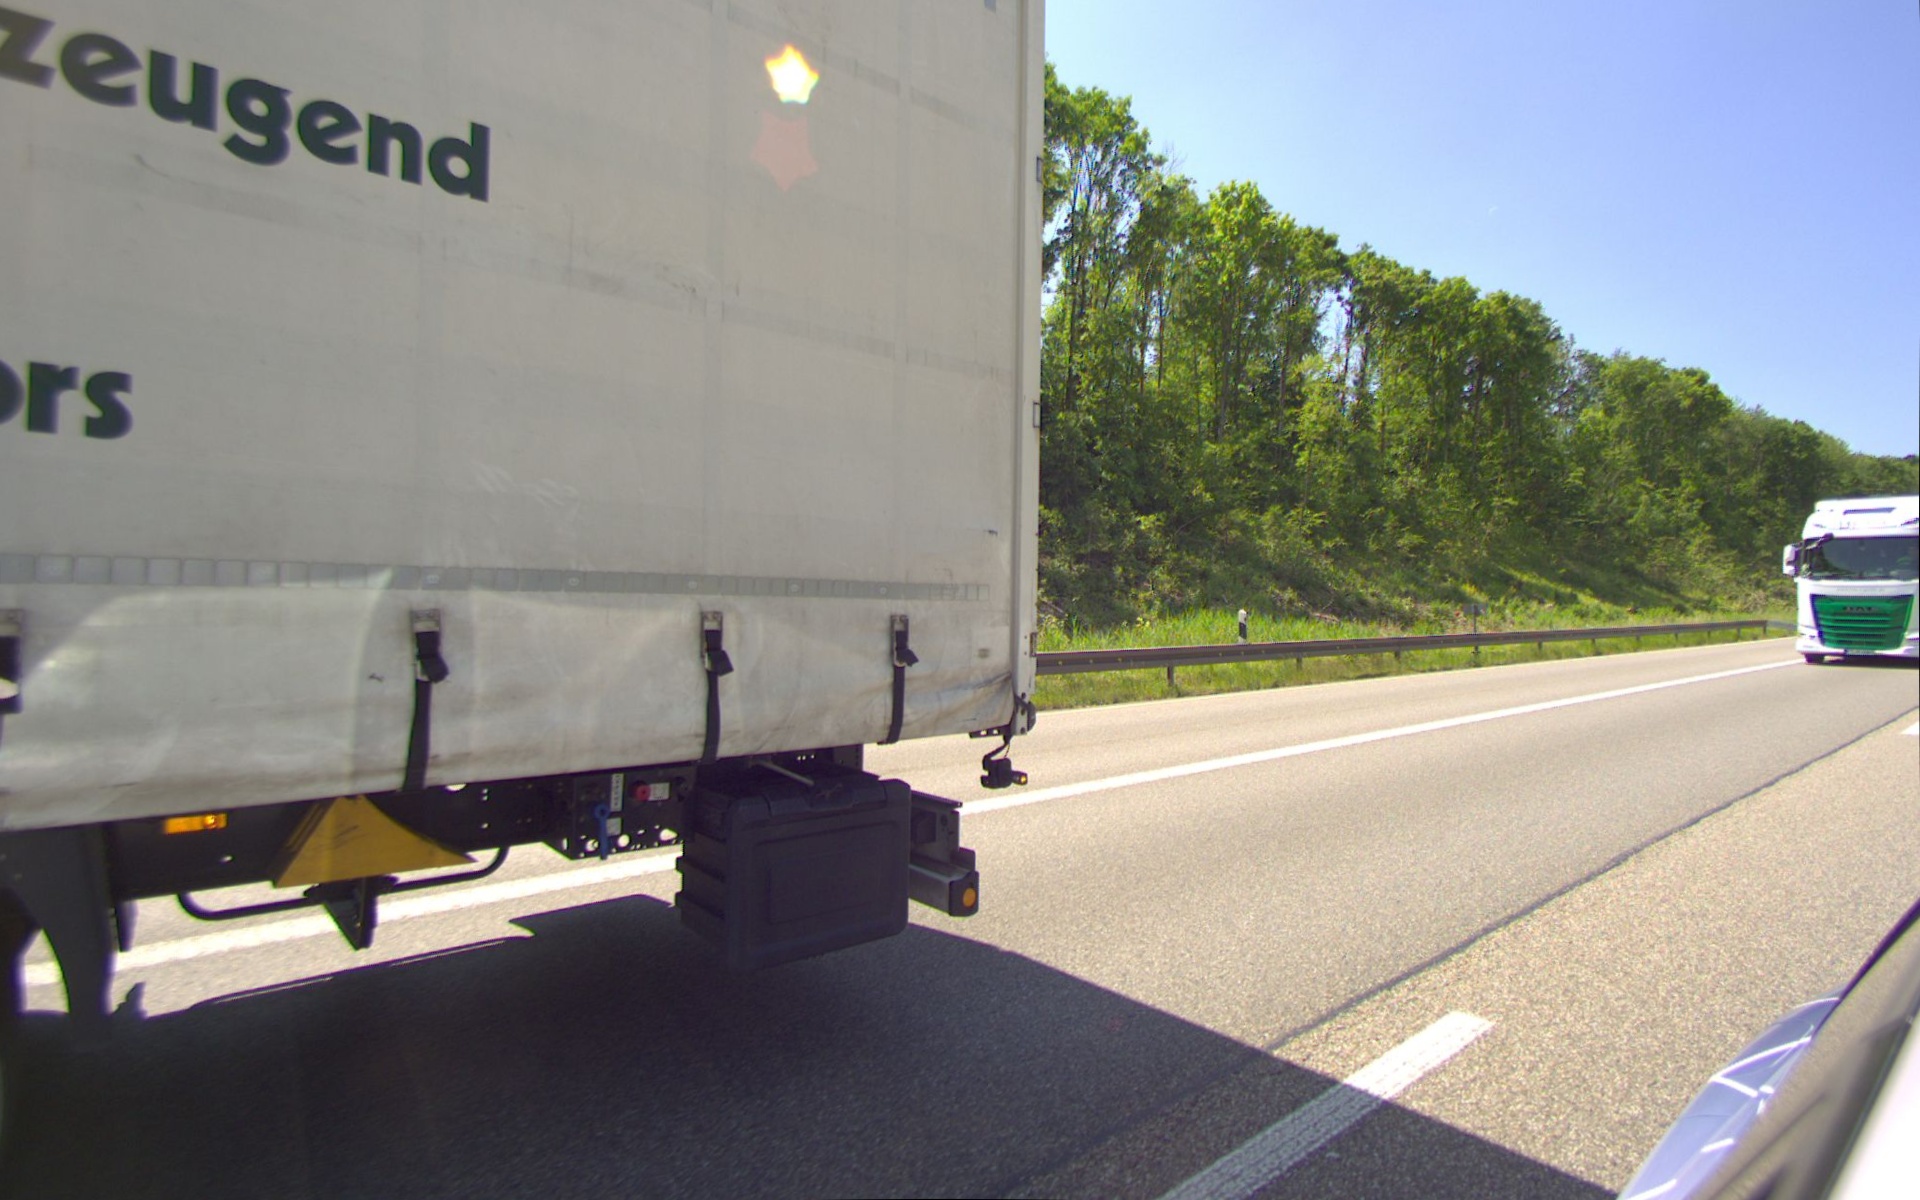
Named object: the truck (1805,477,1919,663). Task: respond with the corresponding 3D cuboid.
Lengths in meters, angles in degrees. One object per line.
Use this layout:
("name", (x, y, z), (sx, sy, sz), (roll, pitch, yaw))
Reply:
("truck", (23.074, -0.693, 24.806), (6.508, 4.080, 2.540), (-1, 0, -40))

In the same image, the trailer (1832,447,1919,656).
("trailer", (28.979, -1.274, 29.811), (15.001, 5.103, 2.573), (-1, 0, -40))

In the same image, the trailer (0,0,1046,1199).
("trailer", (-5.545, -0.616, 0.207), (13.008, 4.259, 2.790), (1, -1, -41))
